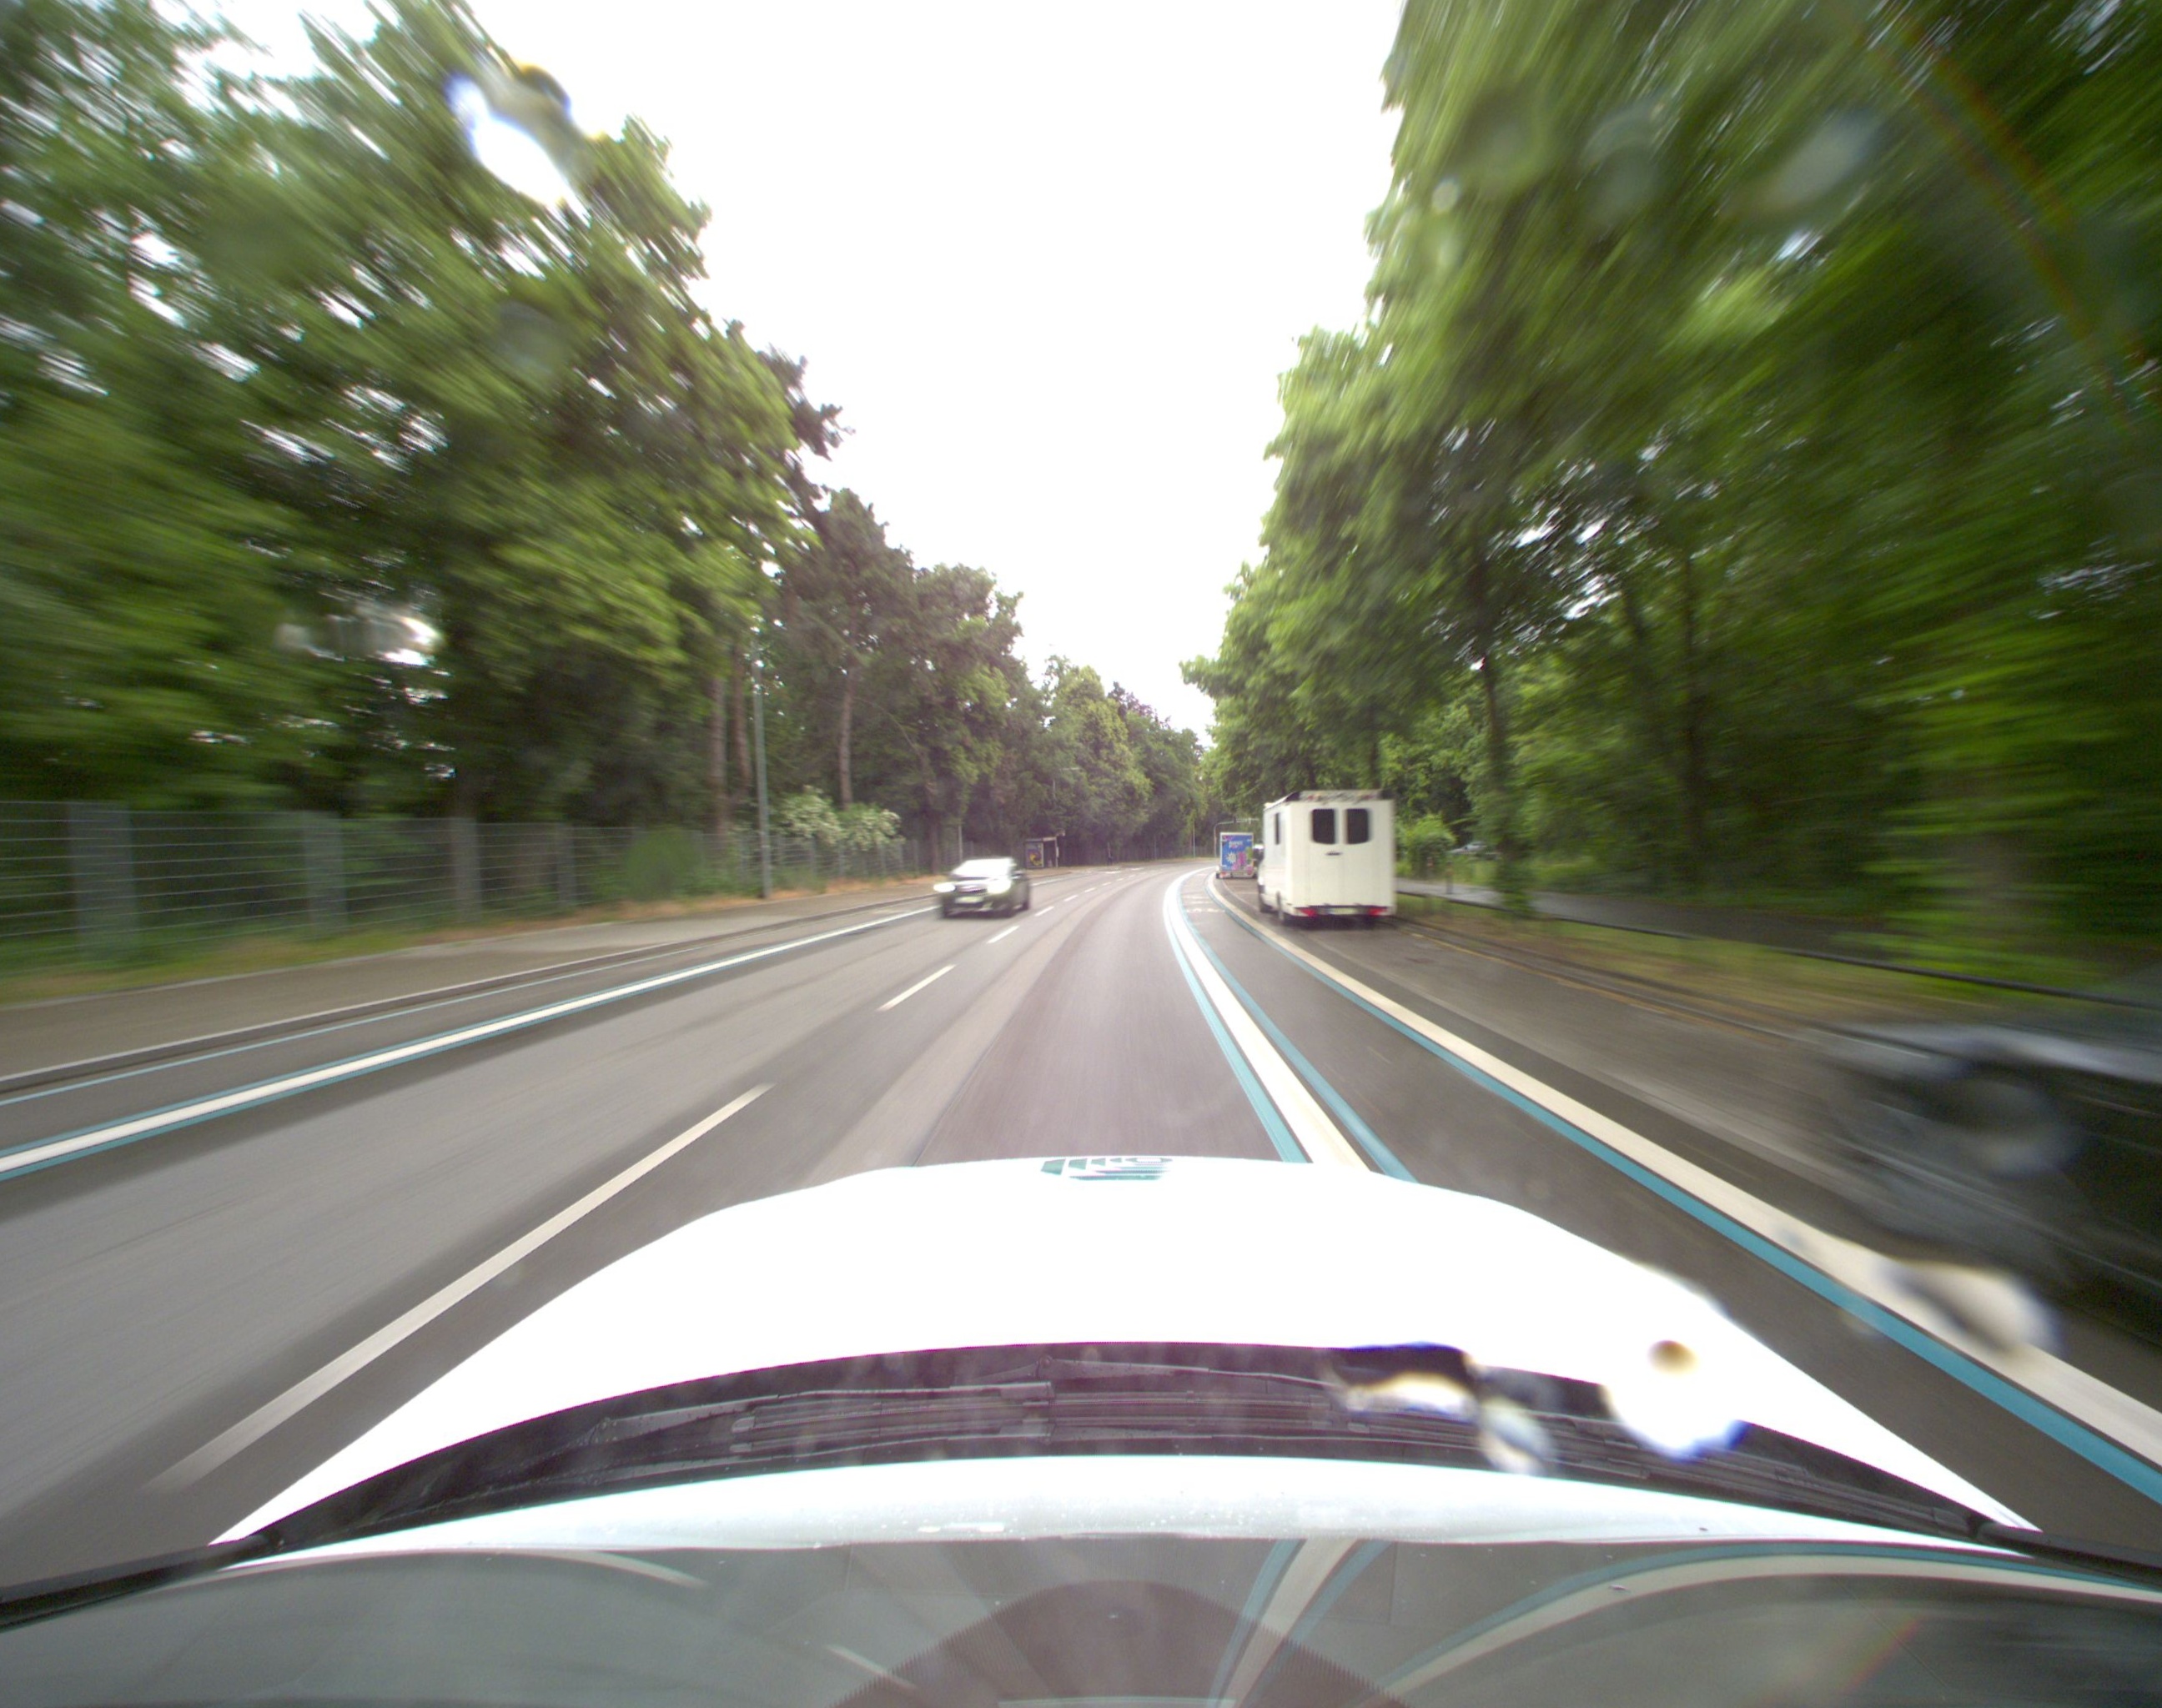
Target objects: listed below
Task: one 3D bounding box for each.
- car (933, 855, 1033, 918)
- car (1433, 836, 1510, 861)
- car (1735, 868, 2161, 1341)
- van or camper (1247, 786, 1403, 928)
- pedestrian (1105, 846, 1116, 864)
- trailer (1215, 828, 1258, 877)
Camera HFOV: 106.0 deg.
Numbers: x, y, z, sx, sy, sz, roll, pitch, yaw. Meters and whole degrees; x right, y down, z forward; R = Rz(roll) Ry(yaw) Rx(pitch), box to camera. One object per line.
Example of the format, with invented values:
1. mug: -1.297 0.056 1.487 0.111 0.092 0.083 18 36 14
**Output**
1. car: -2.410 0.762 21.079 1.752 1.437 4.156 -1 0 5
2. car: 23.889 -0.323 49.991 4.101 1.322 1.900 -3 -1 20
3. car: 4.059 0.754 2.034 1.672 1.376 4.000 -1 -1 1
4. van or camper: 5.271 0.041 18.623 2.305 2.664 6.394 -1 0 6
5. pedestrian: 2.963 0.109 81.780 0.881 1.733 1.149 0 0 9
6. trailer: 8.980 -0.110 47.493 2.302 2.672 5.390 0 0 9
